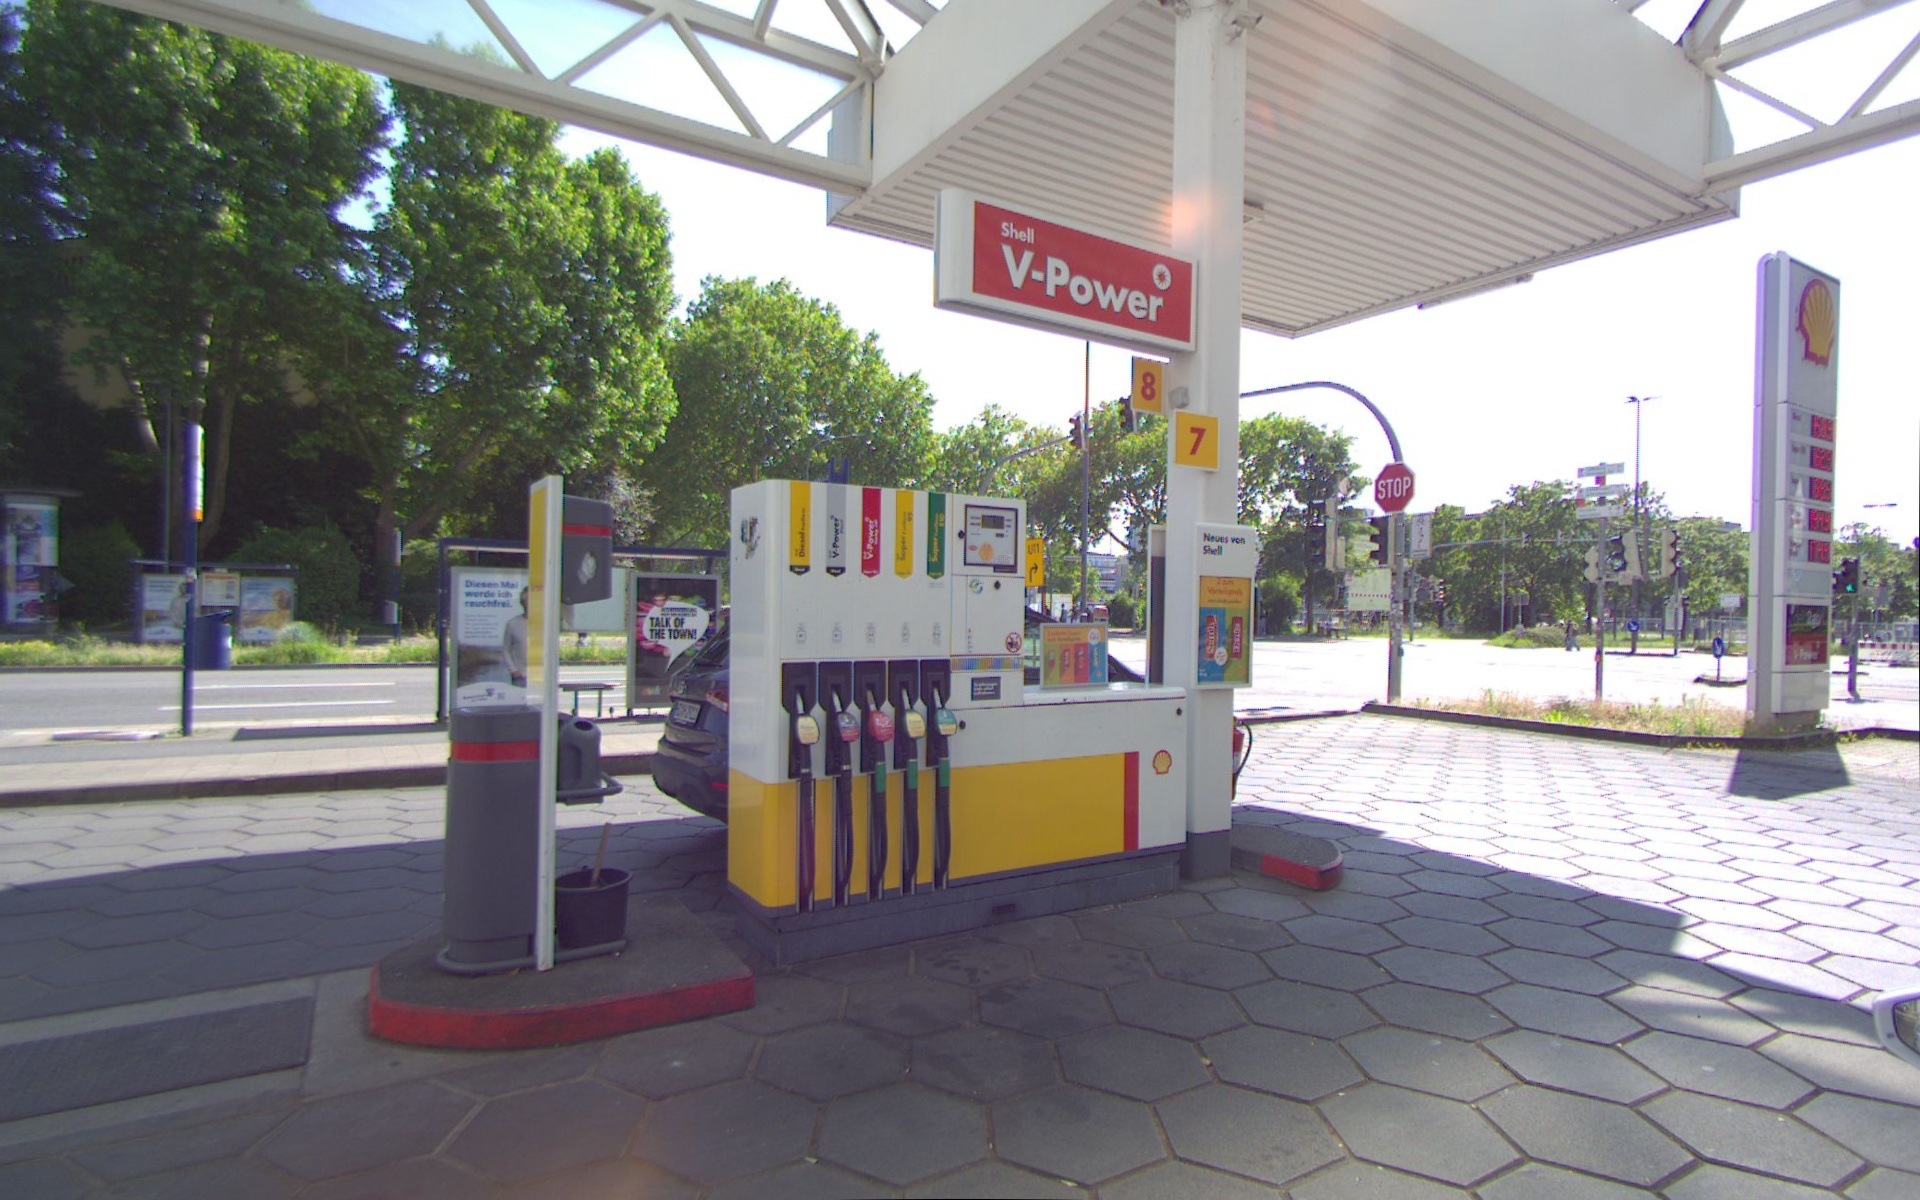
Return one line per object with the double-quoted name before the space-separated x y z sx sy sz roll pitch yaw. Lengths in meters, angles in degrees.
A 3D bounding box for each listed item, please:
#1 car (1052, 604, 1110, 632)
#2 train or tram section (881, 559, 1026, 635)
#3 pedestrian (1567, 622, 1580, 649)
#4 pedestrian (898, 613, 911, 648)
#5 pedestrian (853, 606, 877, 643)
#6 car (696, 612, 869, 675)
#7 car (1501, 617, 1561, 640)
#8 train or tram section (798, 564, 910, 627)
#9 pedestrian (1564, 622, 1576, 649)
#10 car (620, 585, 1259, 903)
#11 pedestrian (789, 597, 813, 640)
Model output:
"car" 9.130 1.385 75.820 1.979 2.040 4.406 2 -3 -33
"train or tram section" -0.854 -0.172 67.336 2.302 4.549 14.815 2 -1 -32
"pedestrian" 33.931 1.960 55.569 0.555 1.488 0.512 1 0 34
"pedestrian" -3.183 1.750 57.739 0.691 2.013 0.741 1 -2 -1
"pedestrian" -4.496 1.165 47.567 0.865 1.746 0.678 2 -3 -45
"car" -4.445 1.070 25.295 3.958 1.385 1.670 2 1 -32
"car" 47.790 2.381 84.191 1.975 1.839 3.973 2 -2 -27
"train or tram section" -8.835 -0.310 80.408 2.302 4.549 15.788 2 -1 -32
"pedestrian" 34.401 1.982 56.643 0.555 1.488 0.512 1 0 34
"car" -0.026 0.774 6.710 3.956 1.552 1.734 2 -2 -32
"pedestrian" -7.089 0.817 44.688 0.758 1.881 0.723 0 -2 28
